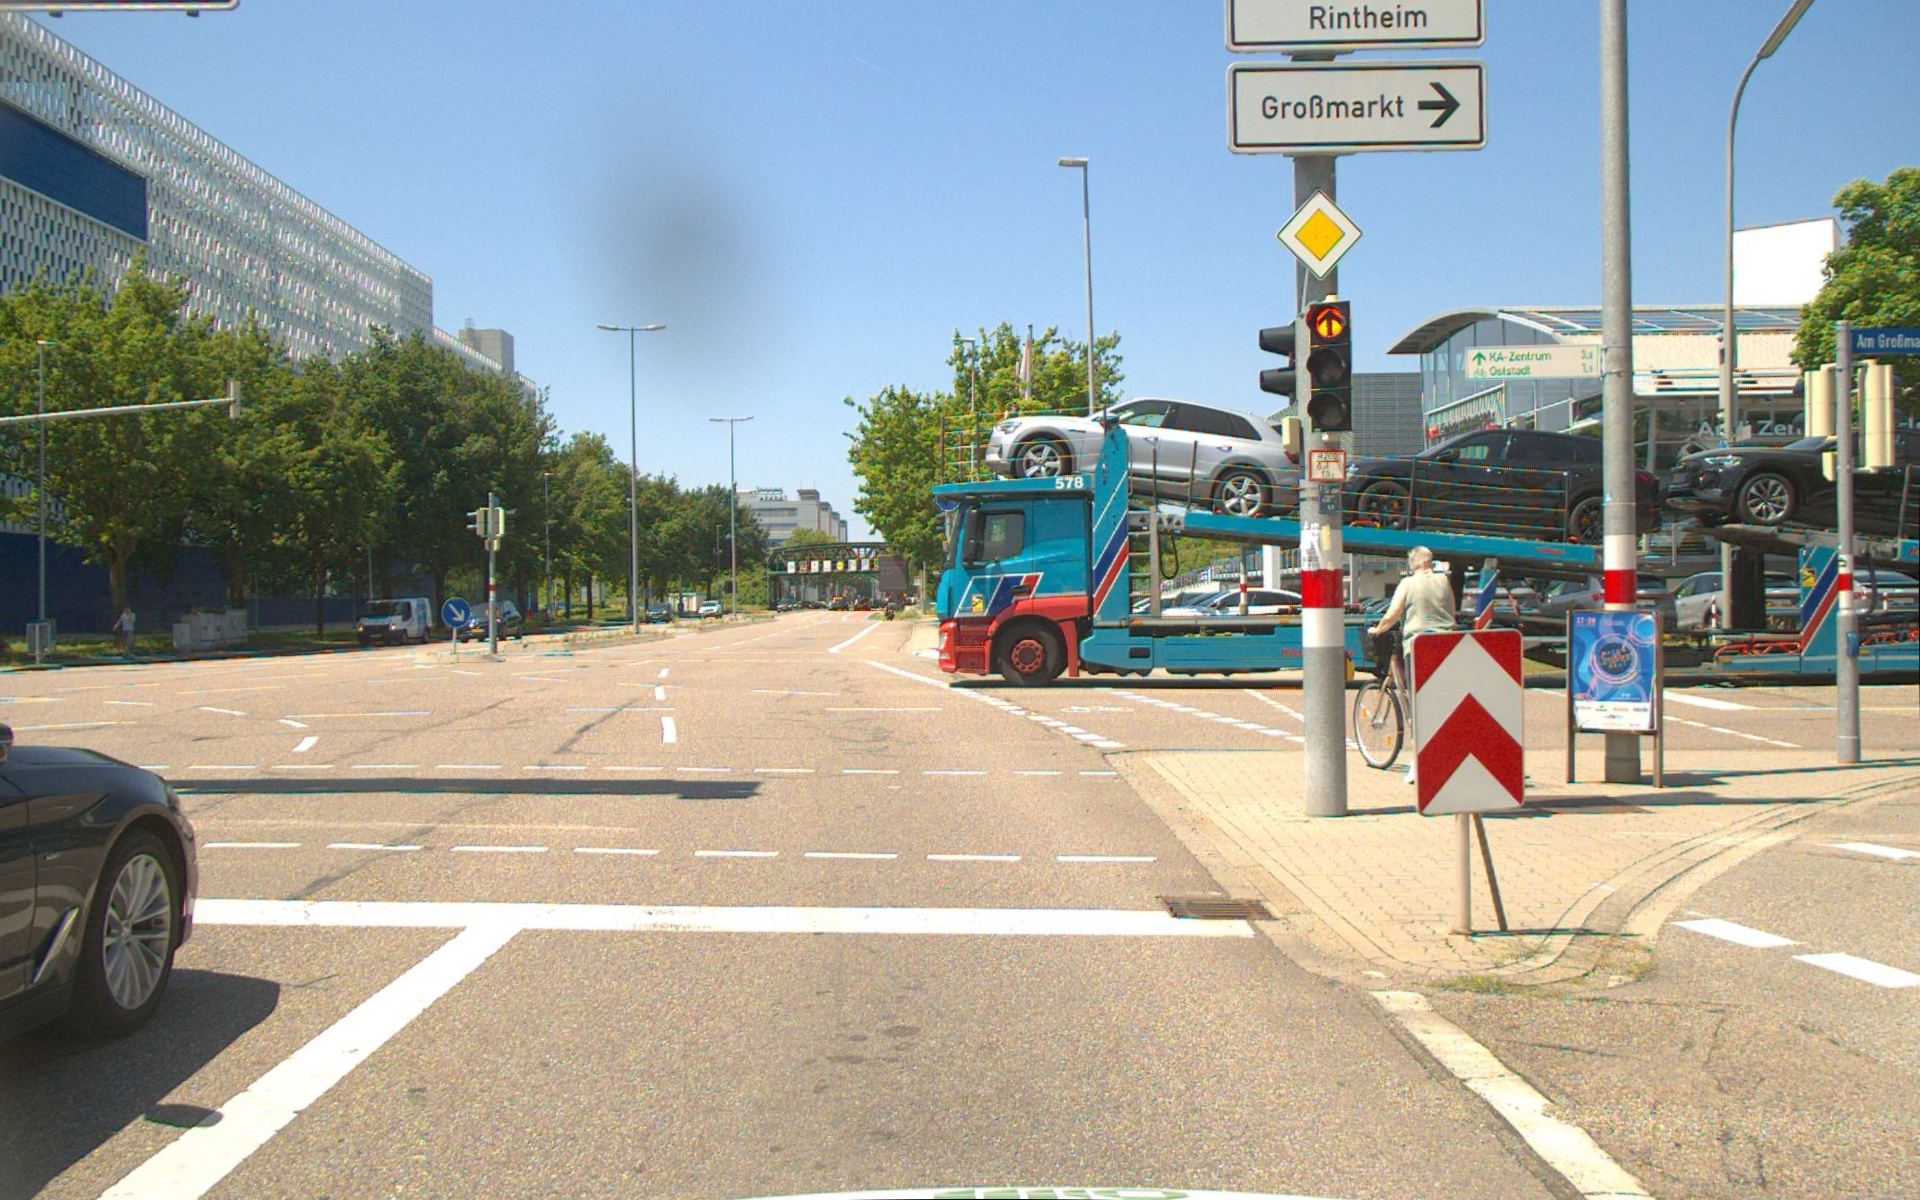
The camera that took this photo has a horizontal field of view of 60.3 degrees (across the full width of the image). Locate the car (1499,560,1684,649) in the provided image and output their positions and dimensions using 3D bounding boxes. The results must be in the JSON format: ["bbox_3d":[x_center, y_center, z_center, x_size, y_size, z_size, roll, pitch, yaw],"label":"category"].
[{"bbox_3d":[12.875,0.059,34.057,1.953,1.668,4.556,-1,1,-2],"label":"car"}]

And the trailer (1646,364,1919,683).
[{"bbox_3d":[14.927,-1.094,23.026,9.408,4.152,3.097,-1,1,7],"label":"trailer"}]

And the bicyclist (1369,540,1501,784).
[{"bbox_3d":[3.561,0.448,12.442,0.719,1.779,0.753,0,1,-6],"label":"bicyclist"}]

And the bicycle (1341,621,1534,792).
[{"bbox_3d":[3.576,0.757,12.578,0.771,1.147,1.919,0,1,-5],"label":"bicycle"}]

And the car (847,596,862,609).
[{"bbox_3d":[-14.315,0.320,224.436,1.736,1.758,3.998,-1,0,-2],"label":"car"}]

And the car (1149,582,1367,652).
[{"bbox_3d":[6.794,0.366,38.072,4.644,1.482,2.000,-1,1,0],"label":"car"}]

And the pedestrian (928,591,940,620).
[{"bbox_3d":[-1.418,0.301,90.169,0.654,1.537,0.736,-1,0,-2],"label":"pedestrian"}]

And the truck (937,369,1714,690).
[{"bbox_3d":[5.058,-0.941,24.202,10.392,4.153,3.103,-1,1,7],"label":"truck"}]

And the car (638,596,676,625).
[{"bbox_3d":[-22.608,0.794,123.656,1.952,2.049,4.000,-1,-2,2],"label":"car"}]

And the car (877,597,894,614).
[{"bbox_3d":[-4.934,0.355,109.813,1.114,1.060,2.307,-1,0,-2],"label":"car"}]

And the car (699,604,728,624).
[{"bbox_3d":[-22.222,1.229,149.271,1.887,1.694,4.089,-1,0,1],"label":"car"}]

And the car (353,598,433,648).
[{"bbox_3d":[-24.873,0.985,72.751,1.953,2.043,4.763,-1,0,-1],"label":"car"}]

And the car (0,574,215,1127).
[{"bbox_3d":[-3.429,0.681,3.515,1.764,1.491,4.621,0,0,-2],"label":"car"}]

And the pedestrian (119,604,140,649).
[{"bbox_3d":[-28.442,0.905,56.631,0.452,1.508,0.483,-1,0,2],"label":"pedestrian"}]

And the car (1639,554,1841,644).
[{"bbox_3d":[15.945,-0.053,34.099,1.953,1.668,4.440,-1,1,-2],"label":"car"}]

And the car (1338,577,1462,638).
[{"bbox_3d":[15.783,0.265,59.493,3.906,2.049,2.000,-1,0,-1],"label":"car"}]

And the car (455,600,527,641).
[{"bbox_3d":[-19.644,0.842,69.456,1.837,1.626,4.494,-1,0,-2],"label":"car"}]

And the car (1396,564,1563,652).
[{"bbox_3d":[10.552,0.120,33.936,1.953,1.668,4.267,-1,1,-2],"label":"car"}]

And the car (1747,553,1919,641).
[{"bbox_3d":[18.320,-0.091,34.189,1.847,1.668,4.523,-1,1,-2],"label":"car"}]

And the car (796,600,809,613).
[{"bbox_3d":[-22.515,0.919,236.263,1.616,1.682,4.160,-1,0,-4],"label":"car"}]

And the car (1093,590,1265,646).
[{"bbox_3d":[6.287,0.511,47.896,4.647,1.482,1.999,-1,1,-3],"label":"car"}]

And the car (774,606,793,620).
[{"bbox_3d":[-20.046,1.450,187.897,1.697,1.452,3.704,-3,0,-2],"label":"car"}]

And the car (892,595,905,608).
[{"bbox_3d":[-8.291,0.189,223.995,1.736,1.758,3.998,-1,0,-2],"label":"car"}]

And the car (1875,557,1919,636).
[{"bbox_3d":[21.130,-0.080,34.250,1.791,1.668,4.473,-1,1,-2],"label":"car"}]
